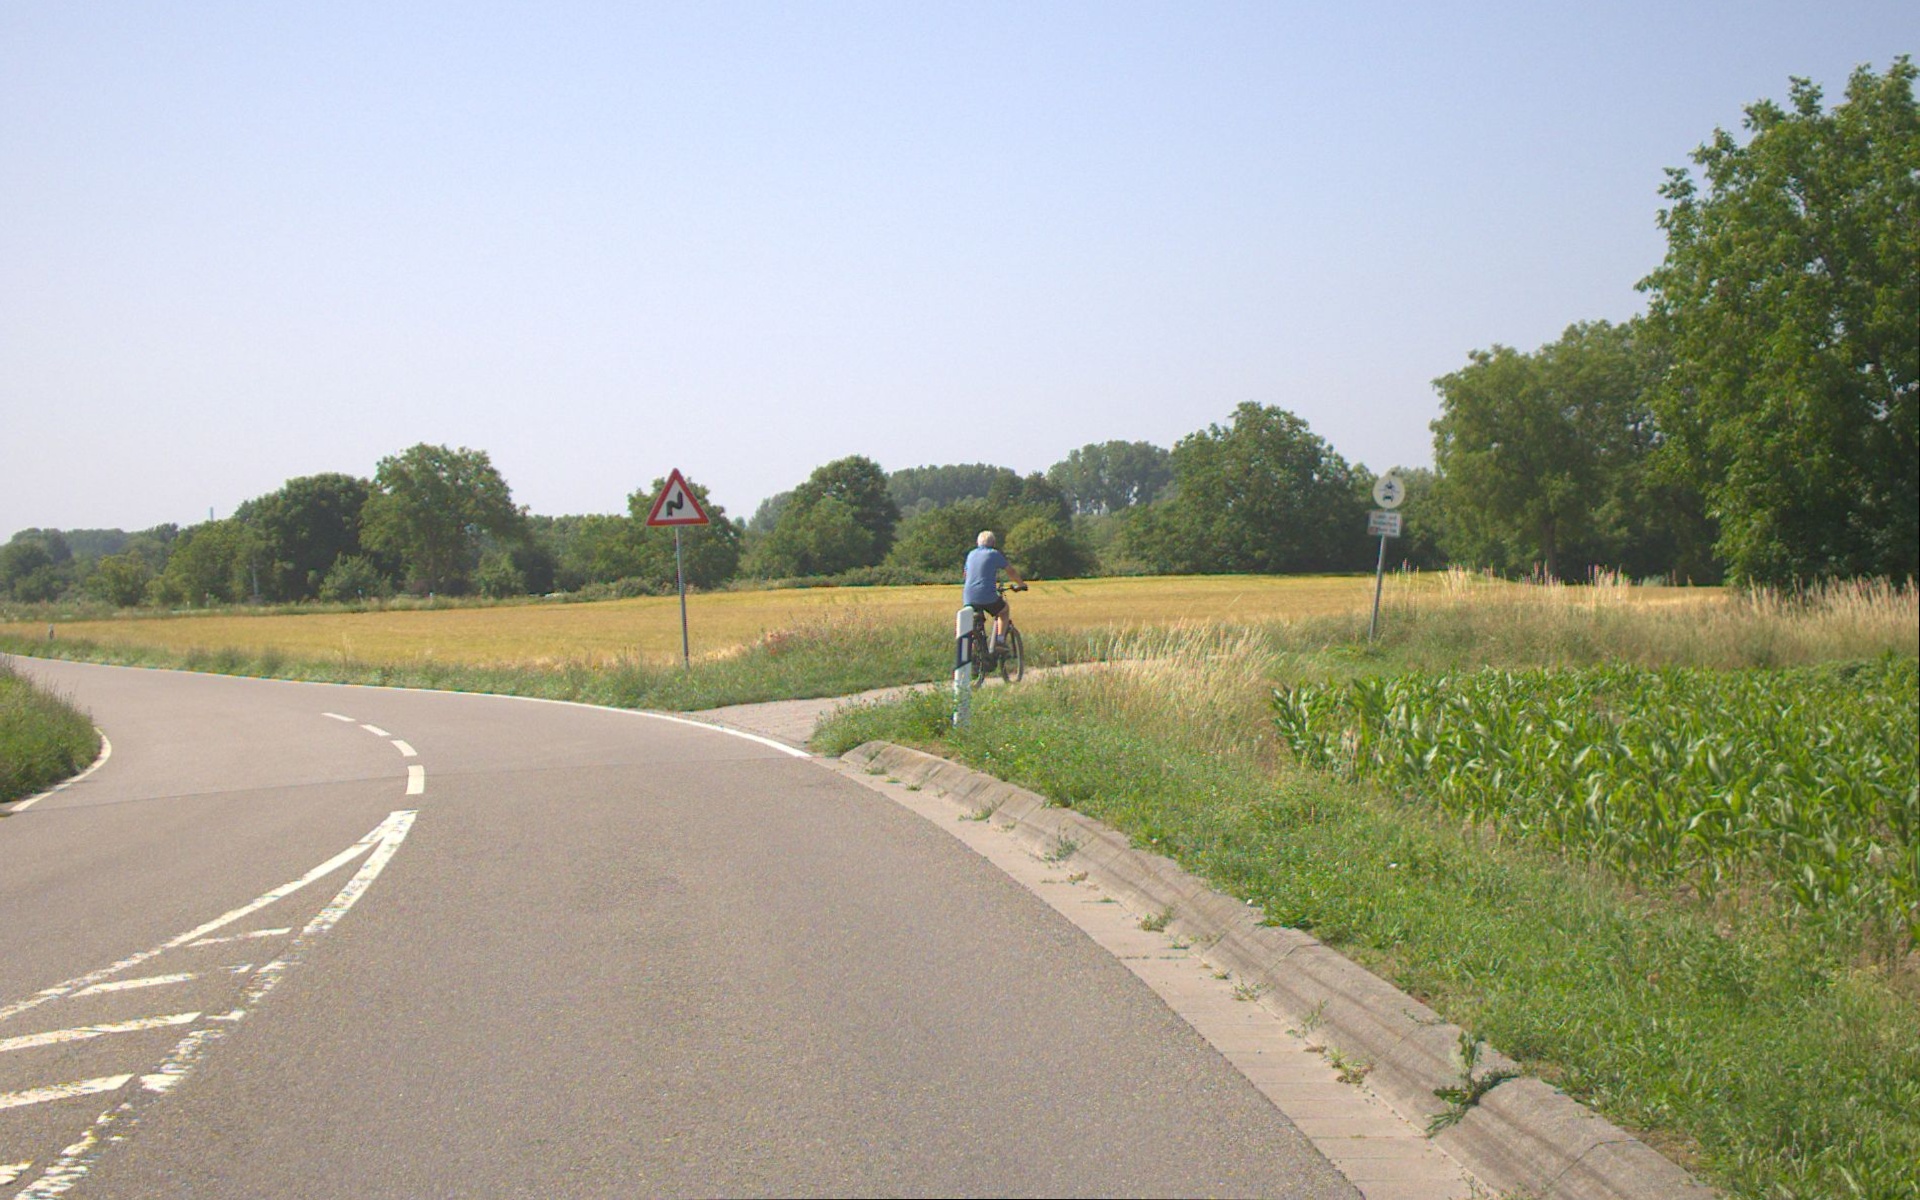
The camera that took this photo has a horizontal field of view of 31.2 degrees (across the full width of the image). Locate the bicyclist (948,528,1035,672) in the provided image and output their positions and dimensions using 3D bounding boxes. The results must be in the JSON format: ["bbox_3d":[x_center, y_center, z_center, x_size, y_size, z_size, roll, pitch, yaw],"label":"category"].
[{"bbox_3d":[0.353,-0.007,38.126,0.673,1.568,0.734,-2,0,24],"label":"bicyclist"}]

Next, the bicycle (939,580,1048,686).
[{"bbox_3d":[0.382,0.354,38.168,0.521,1.112,1.767,-2,0,24],"label":"bicycle"}]
